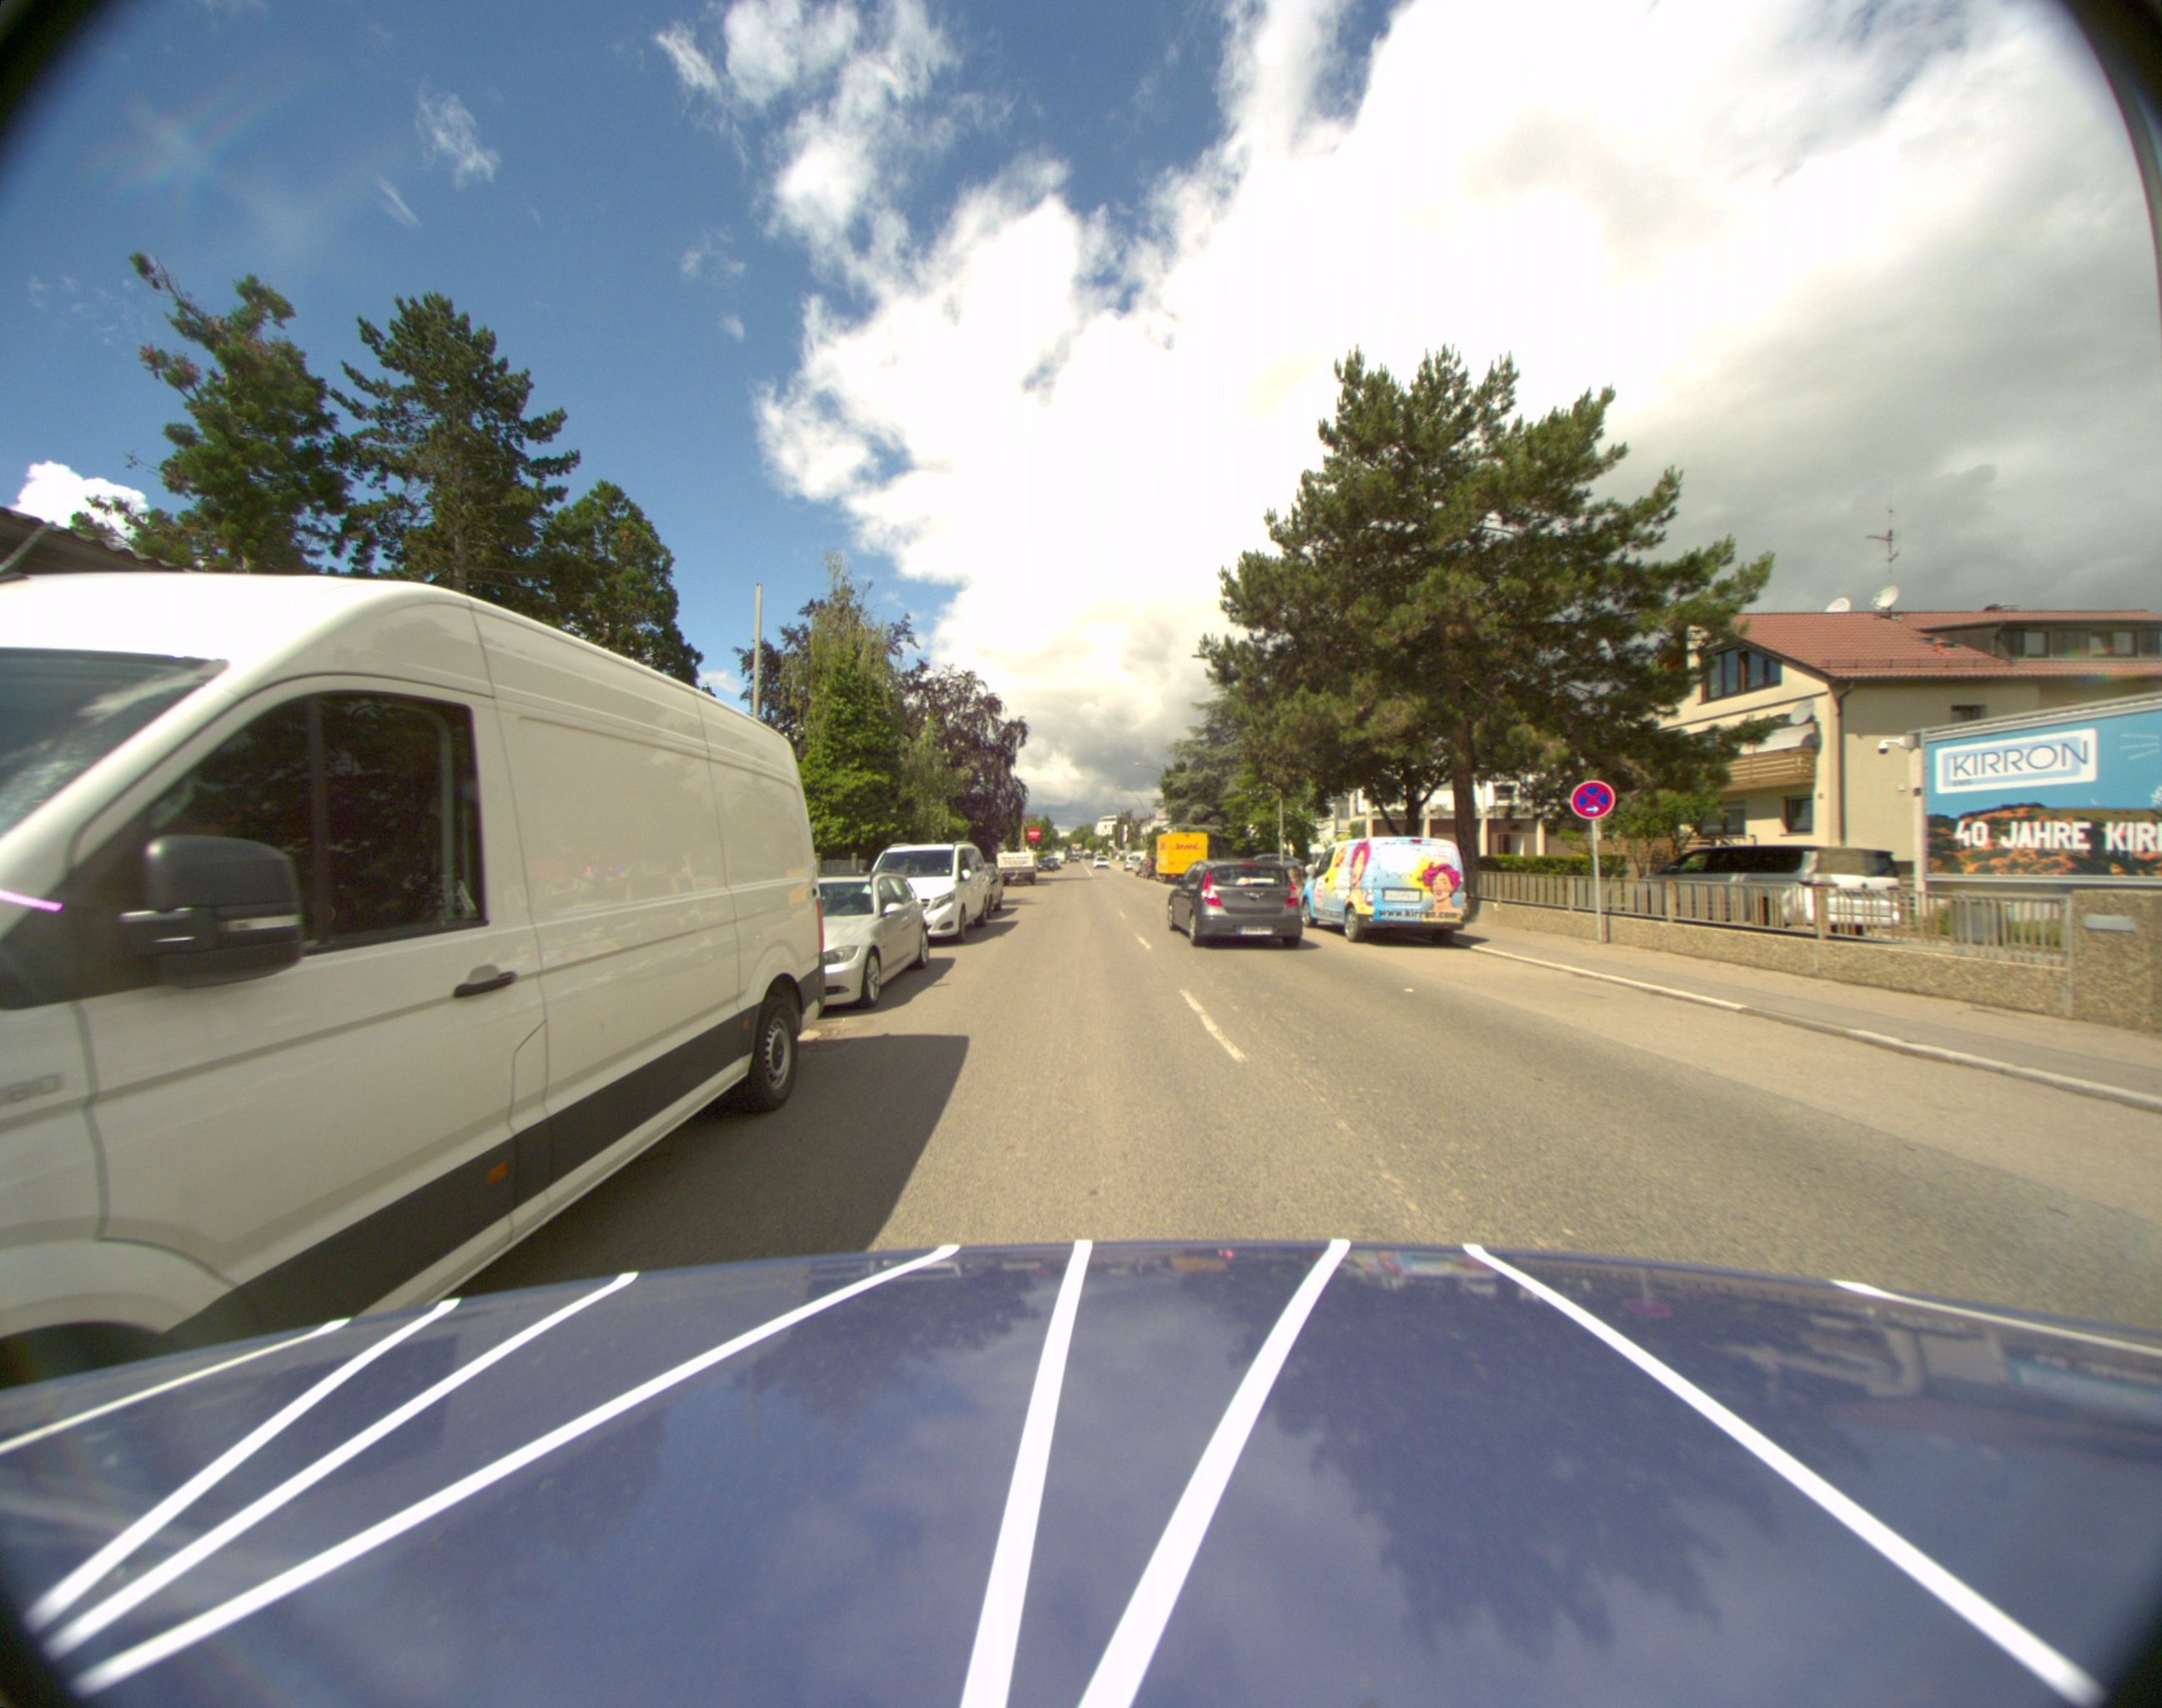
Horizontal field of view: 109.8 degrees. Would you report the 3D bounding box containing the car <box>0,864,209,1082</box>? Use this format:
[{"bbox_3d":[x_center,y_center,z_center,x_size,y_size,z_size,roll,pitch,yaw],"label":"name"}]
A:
[{"bbox_3d":[-8.240,0.811,3.940,1.769,1.480,4.926,-1,0,0],"label":"car"}]

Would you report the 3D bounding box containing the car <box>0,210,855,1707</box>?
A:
[{"bbox_3d":[-2.864,0.308,2.767,2.221,2.673,6.656,0,0,-1],"label":"car"}]

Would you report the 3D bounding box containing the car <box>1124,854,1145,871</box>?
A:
[{"bbox_3d":[5.340,0.819,76.141,1.809,1.666,4.127,2,0,0],"label":"car"}]

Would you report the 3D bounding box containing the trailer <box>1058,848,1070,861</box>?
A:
[{"bbox_3d":[-2.994,0.120,136.308,2.045,2.214,5.078,0,0,0],"label":"trailer"}]

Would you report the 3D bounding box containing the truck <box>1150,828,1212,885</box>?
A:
[{"bbox_3d":[5.705,0.139,44.460,2.330,2.986,7.817,2,0,-1],"label":"truck"}]

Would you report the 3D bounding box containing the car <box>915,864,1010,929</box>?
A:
[{"bbox_3d":[-3.136,1.067,21.101,1.759,1.442,4.993,-3,0,0],"label":"car"}]

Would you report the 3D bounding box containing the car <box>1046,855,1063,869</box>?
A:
[{"bbox_3d":[-3.137,0.919,89.796,1.811,1.566,4.188,-3,0,0],"label":"car"}]

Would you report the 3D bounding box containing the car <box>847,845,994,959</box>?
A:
[{"bbox_3d":[-3.036,0.813,15.605,1.910,1.874,5.389,-2,0,-1],"label":"car"}]

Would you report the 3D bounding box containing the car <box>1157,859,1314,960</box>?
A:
[{"bbox_3d":[2.592,0.876,13.830,1.906,1.509,4.318,0,0,-1],"label":"car"}]

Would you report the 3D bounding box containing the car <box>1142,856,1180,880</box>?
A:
[{"bbox_3d":[5.430,0.908,52.171,1.998,1.445,4.811,3,0,0],"label":"car"}]

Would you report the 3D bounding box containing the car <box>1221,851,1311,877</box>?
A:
[{"bbox_3d":[11.343,0.596,46.816,5.021,1.543,1.972,0,1,-2],"label":"car"}]

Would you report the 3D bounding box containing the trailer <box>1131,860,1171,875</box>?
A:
[{"bbox_3d":[5.292,0.976,58.485,2.324,0.985,7.458,1,0,0],"label":"trailer"}]

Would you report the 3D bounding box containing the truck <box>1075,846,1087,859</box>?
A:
[{"bbox_3d":[-0.005,-0.409,204.598,2.880,3.290,8.606,-2,1,0],"label":"truck"}]

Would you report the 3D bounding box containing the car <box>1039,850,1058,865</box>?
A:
[{"bbox_3d":[-3.322,0.386,77.915,1.759,1.455,3.999,-1,0,0],"label":"car"}]

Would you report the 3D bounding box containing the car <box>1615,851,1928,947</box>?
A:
[{"bbox_3d":[15.181,0.854,17.316,2.085,1.820,5.478,0,0,-1],"label":"car"}]

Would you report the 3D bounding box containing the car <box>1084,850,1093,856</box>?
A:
[{"bbox_3d":[2.137,-0.281,231.416,2.385,2.002,6.383,0,0,-2],"label":"car"}]

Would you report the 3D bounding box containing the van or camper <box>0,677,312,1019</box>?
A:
[{"bbox_3d":[-11.030,-0.047,6.032,2.889,3.043,6.912,0,0,-1],"label":"van or camper"}]

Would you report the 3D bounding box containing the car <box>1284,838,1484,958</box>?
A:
[{"bbox_3d":[5.560,0.742,14.740,1.838,1.842,4.896,3,-1,0],"label":"car"}]

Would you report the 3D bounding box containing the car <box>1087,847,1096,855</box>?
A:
[{"bbox_3d":[2.513,-0.713,181.729,1.859,1.686,4.001,-1,0,3],"label":"car"}]

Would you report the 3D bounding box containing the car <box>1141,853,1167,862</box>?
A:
[{"bbox_3d":[11.776,0.595,122.888,4.046,1.485,1.675,0,0,-1],"label":"car"}]

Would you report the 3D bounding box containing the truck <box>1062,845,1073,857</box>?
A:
[{"bbox_3d":[-3.329,-0.743,187.924,2.411,2.722,6.640,-2,1,0],"label":"truck"}]

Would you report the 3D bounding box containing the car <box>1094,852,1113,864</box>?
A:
[{"bbox_3d":[2.632,0.481,89.841,1.987,1.412,3.999,0,0,-2],"label":"car"}]

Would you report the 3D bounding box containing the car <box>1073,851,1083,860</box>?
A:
[{"bbox_3d":[-0.613,0.324,148.390,1.998,1.802,4.000,-1,0,0],"label":"car"}]

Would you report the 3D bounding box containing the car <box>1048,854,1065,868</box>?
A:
[{"bbox_3d":[-2.994,0.864,94.587,1.835,1.608,4.000,-3,0,1],"label":"car"}]

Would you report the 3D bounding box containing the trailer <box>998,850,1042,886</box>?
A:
[{"bbox_3d":[-3.269,0.705,41.729,1.998,1.812,4.764,-2,0,0],"label":"trailer"}]
